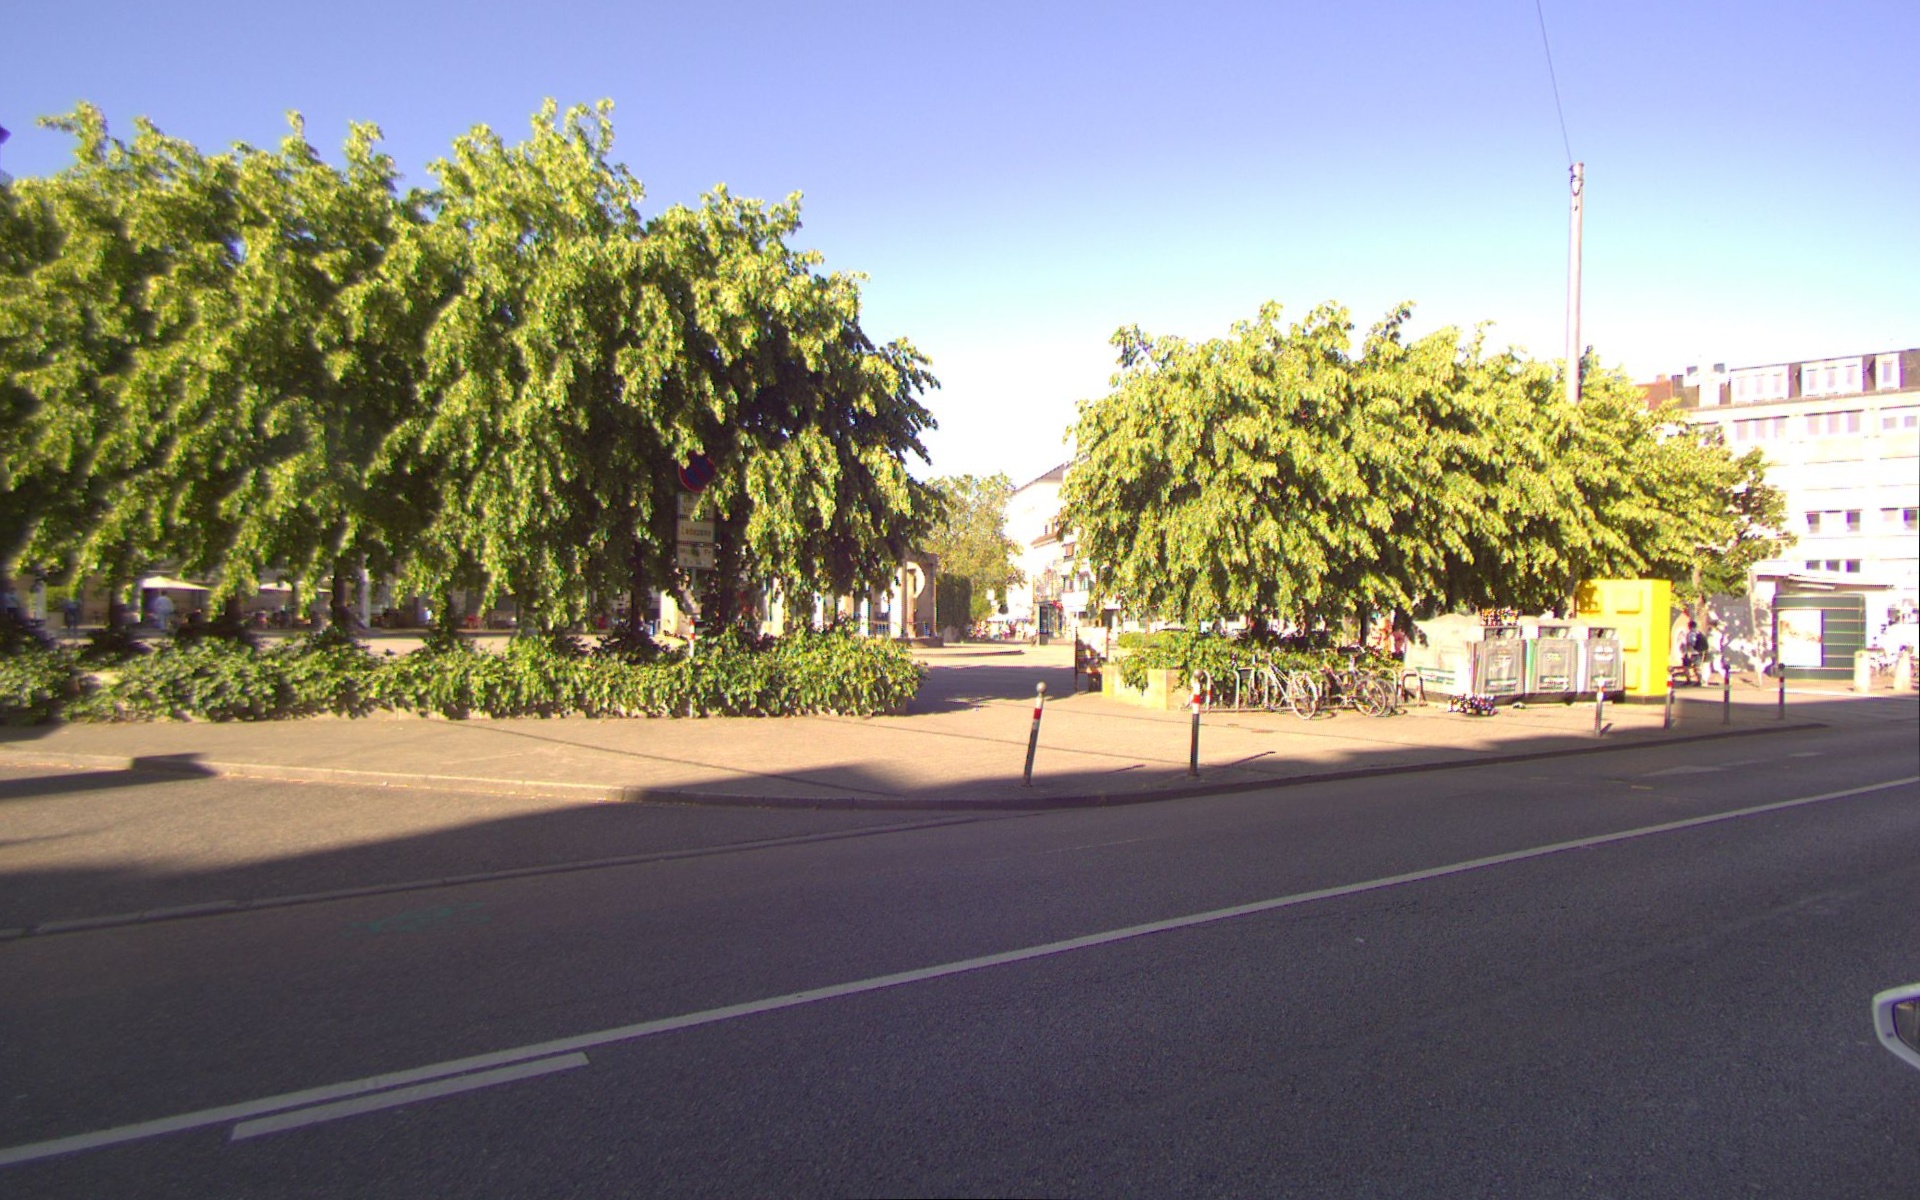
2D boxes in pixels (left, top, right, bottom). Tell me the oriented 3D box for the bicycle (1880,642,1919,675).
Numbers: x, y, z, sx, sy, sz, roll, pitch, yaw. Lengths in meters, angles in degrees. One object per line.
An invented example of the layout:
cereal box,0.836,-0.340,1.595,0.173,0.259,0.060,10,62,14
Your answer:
bicycle,34.210,2.089,35.723,0.796,1.119,2.073,1,-1,-30

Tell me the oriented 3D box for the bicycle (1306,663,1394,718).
bicycle,6.493,1.491,16.791,0.435,0.779,1.469,2,0,-25

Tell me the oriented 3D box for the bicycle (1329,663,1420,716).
bicycle,6.995,1.497,17.025,0.468,0.779,1.468,2,0,-27

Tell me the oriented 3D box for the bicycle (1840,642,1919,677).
bicycle,31.904,2.044,34.750,0.796,1.119,2.073,1,-1,-30

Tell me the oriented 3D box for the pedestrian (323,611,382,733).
pedestrian,-9.658,1.123,15.998,0.722,1.881,0.578,1,0,-28

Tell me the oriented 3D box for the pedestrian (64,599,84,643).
pedestrian,-37.441,0.885,42.461,0.597,1.816,0.576,2,0,-40

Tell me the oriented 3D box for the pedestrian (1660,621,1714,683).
pedestrian,20.105,1.432,27.791,0.727,1.658,0.983,1,0,-26

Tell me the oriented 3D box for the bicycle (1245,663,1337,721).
bicycle,5.275,1.458,16.122,0.467,0.779,1.653,2,0,-20

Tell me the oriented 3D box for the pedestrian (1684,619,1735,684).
pedestrian,20.836,1.409,27.932,0.734,1.748,0.898,1,0,-26

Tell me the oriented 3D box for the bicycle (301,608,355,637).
bicycle,-23.967,0.847,38.077,2.018,1.030,0.504,1,0,16

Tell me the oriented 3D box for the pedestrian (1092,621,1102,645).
pedestrian,10.750,2.576,78.672,0.591,1.816,0.581,1,0,-12

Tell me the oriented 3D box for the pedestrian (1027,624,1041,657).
pedestrian,4.590,2.526,62.364,0.670,2.040,0.579,1,0,-23

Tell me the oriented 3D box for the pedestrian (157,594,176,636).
pedestrian,-34.521,0.668,43.700,0.597,1.816,0.575,2,0,-44

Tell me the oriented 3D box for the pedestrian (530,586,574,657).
pedestrian,-10.442,0.559,25.734,0.918,1.775,0.728,1,0,-15

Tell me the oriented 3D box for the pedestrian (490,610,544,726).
pedestrian,-7.388,1.112,16.753,0.574,1.881,0.598,1,0,41
